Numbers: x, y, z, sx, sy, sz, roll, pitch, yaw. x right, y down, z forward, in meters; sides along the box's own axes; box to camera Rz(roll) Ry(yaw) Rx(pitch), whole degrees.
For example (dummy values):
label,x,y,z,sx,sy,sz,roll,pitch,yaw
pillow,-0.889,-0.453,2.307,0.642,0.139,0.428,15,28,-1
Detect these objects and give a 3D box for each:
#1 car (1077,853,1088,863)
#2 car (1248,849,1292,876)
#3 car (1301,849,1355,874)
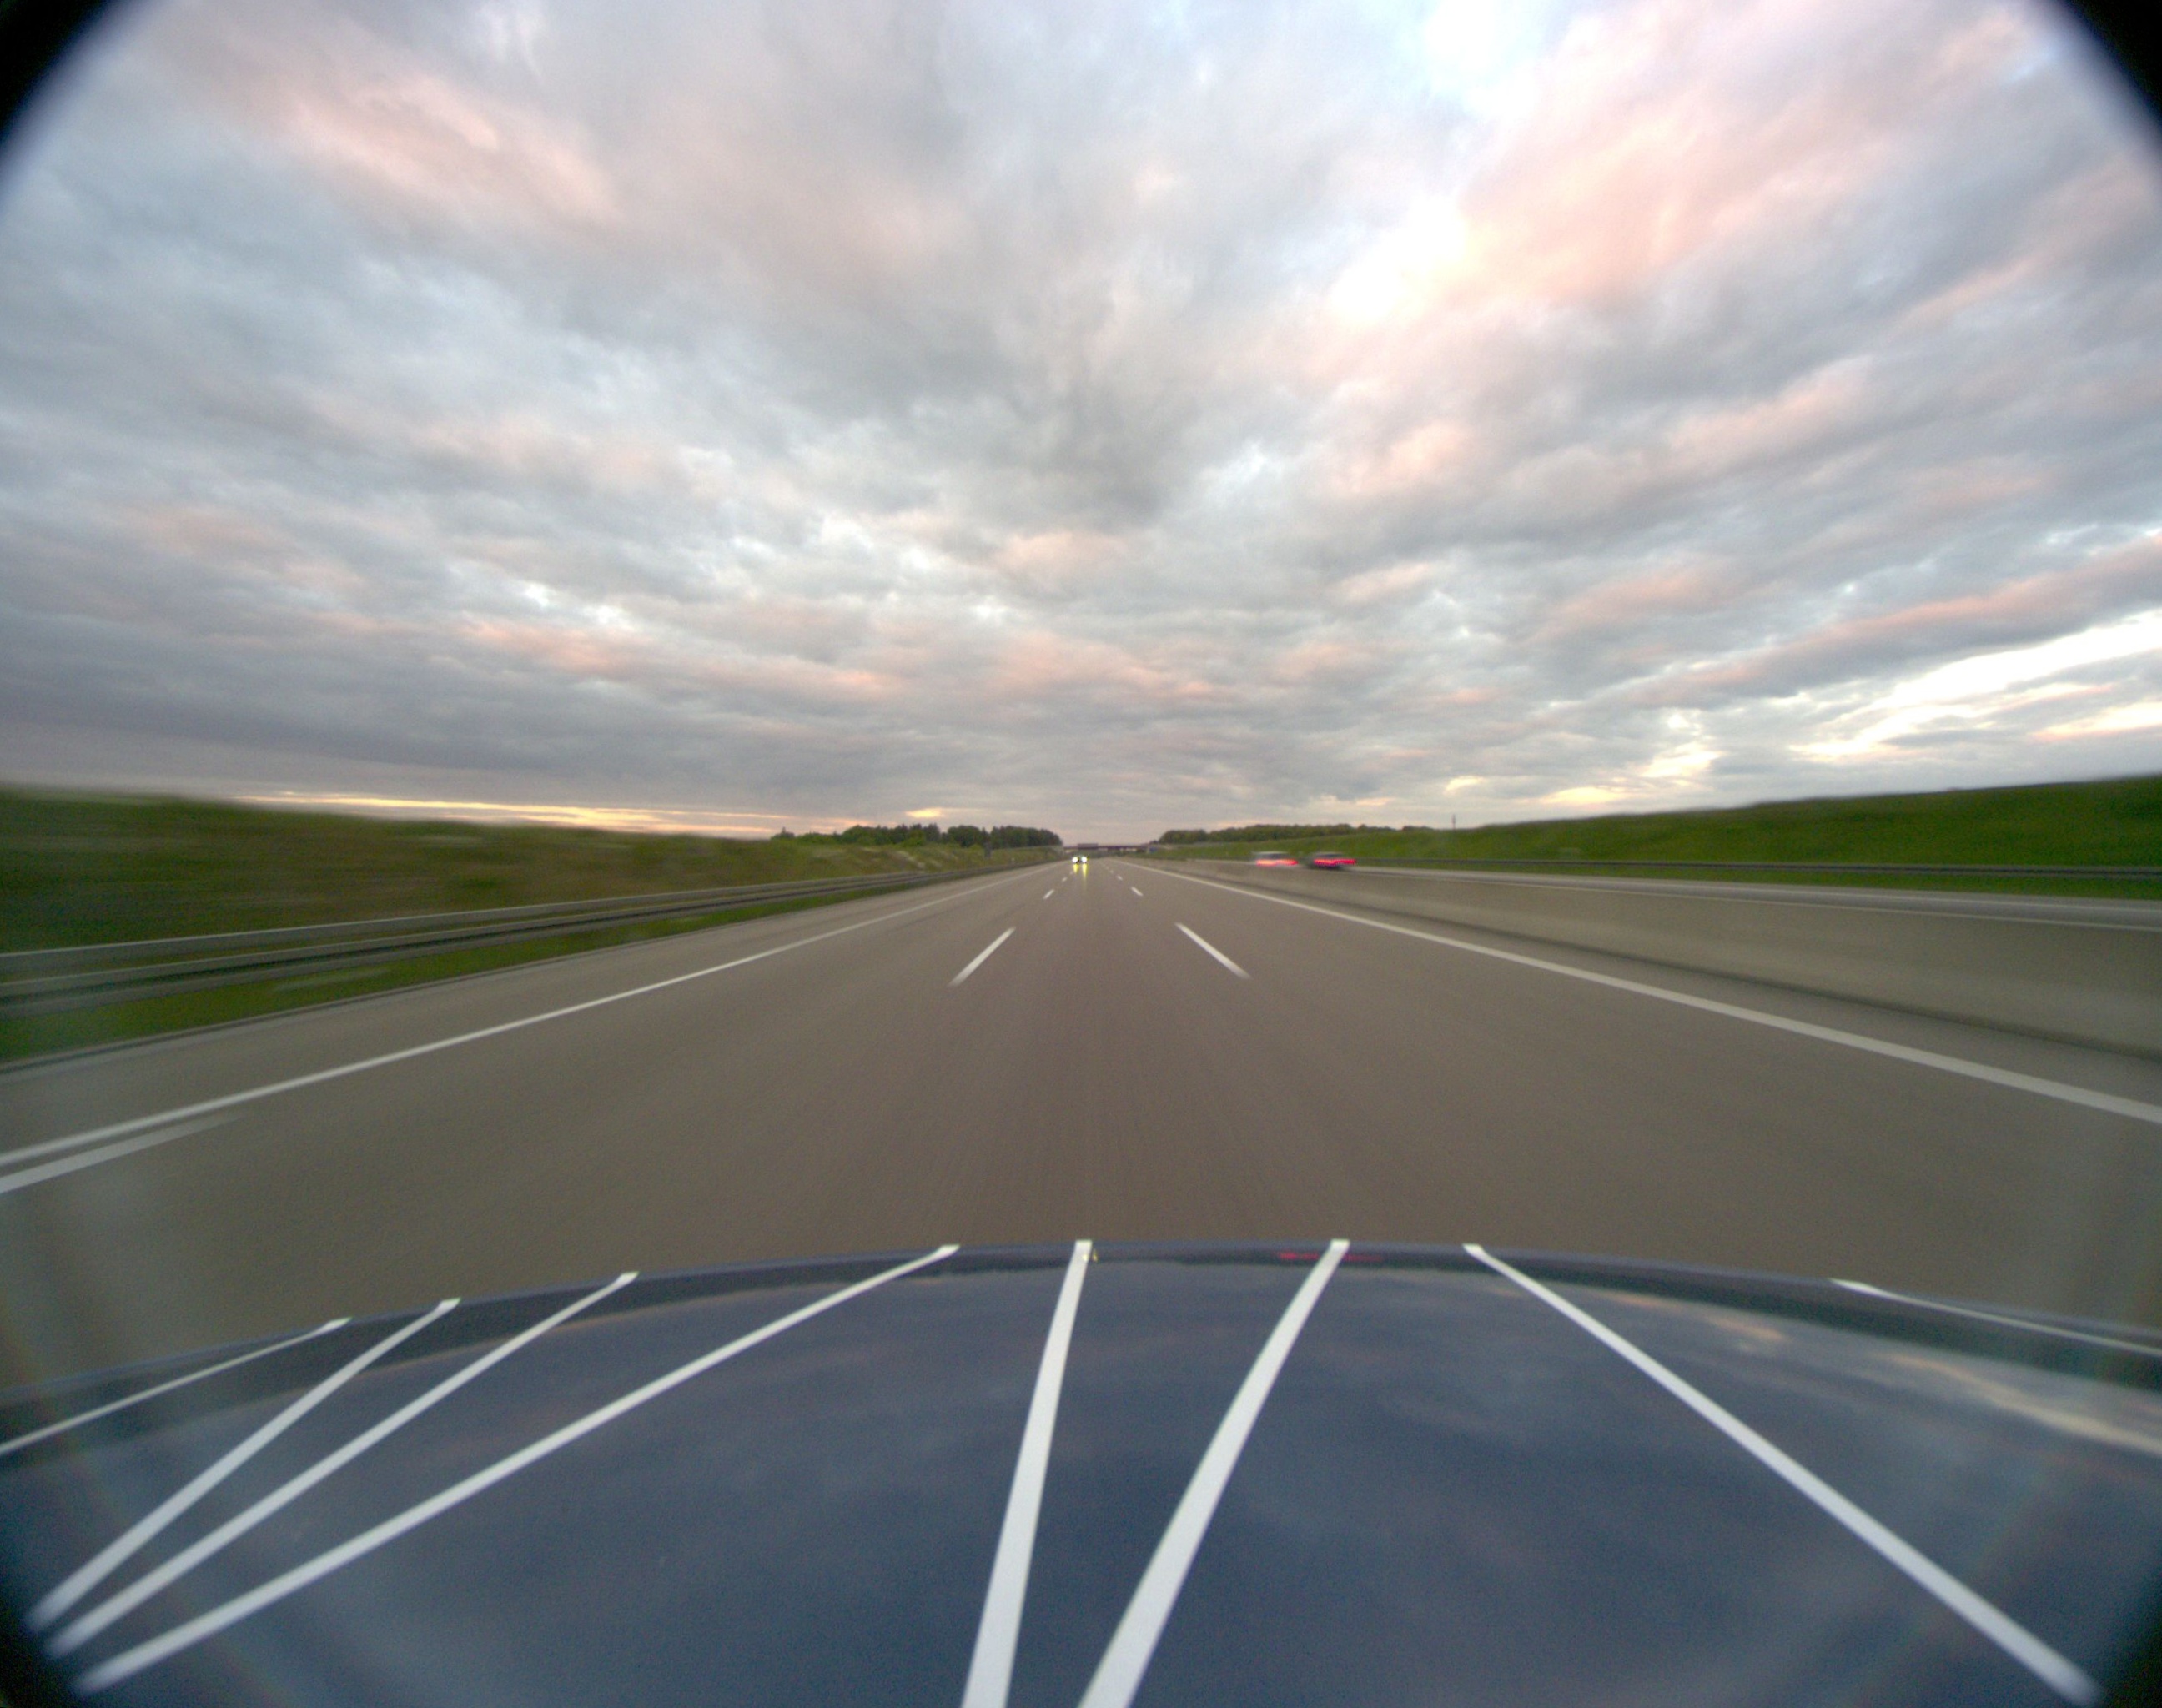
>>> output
label,x,y,z,sx,sy,sz,roll,pitch,yaw
car,0.222,0.722,130.101,1.801,1.674,4.385,-1,1,1
car,12.074,0.527,48.793,1.753,1.588,4.643,-2,0,1
car,16.197,0.475,50.111,2.008,1.578,4.572,-1,0,-1
